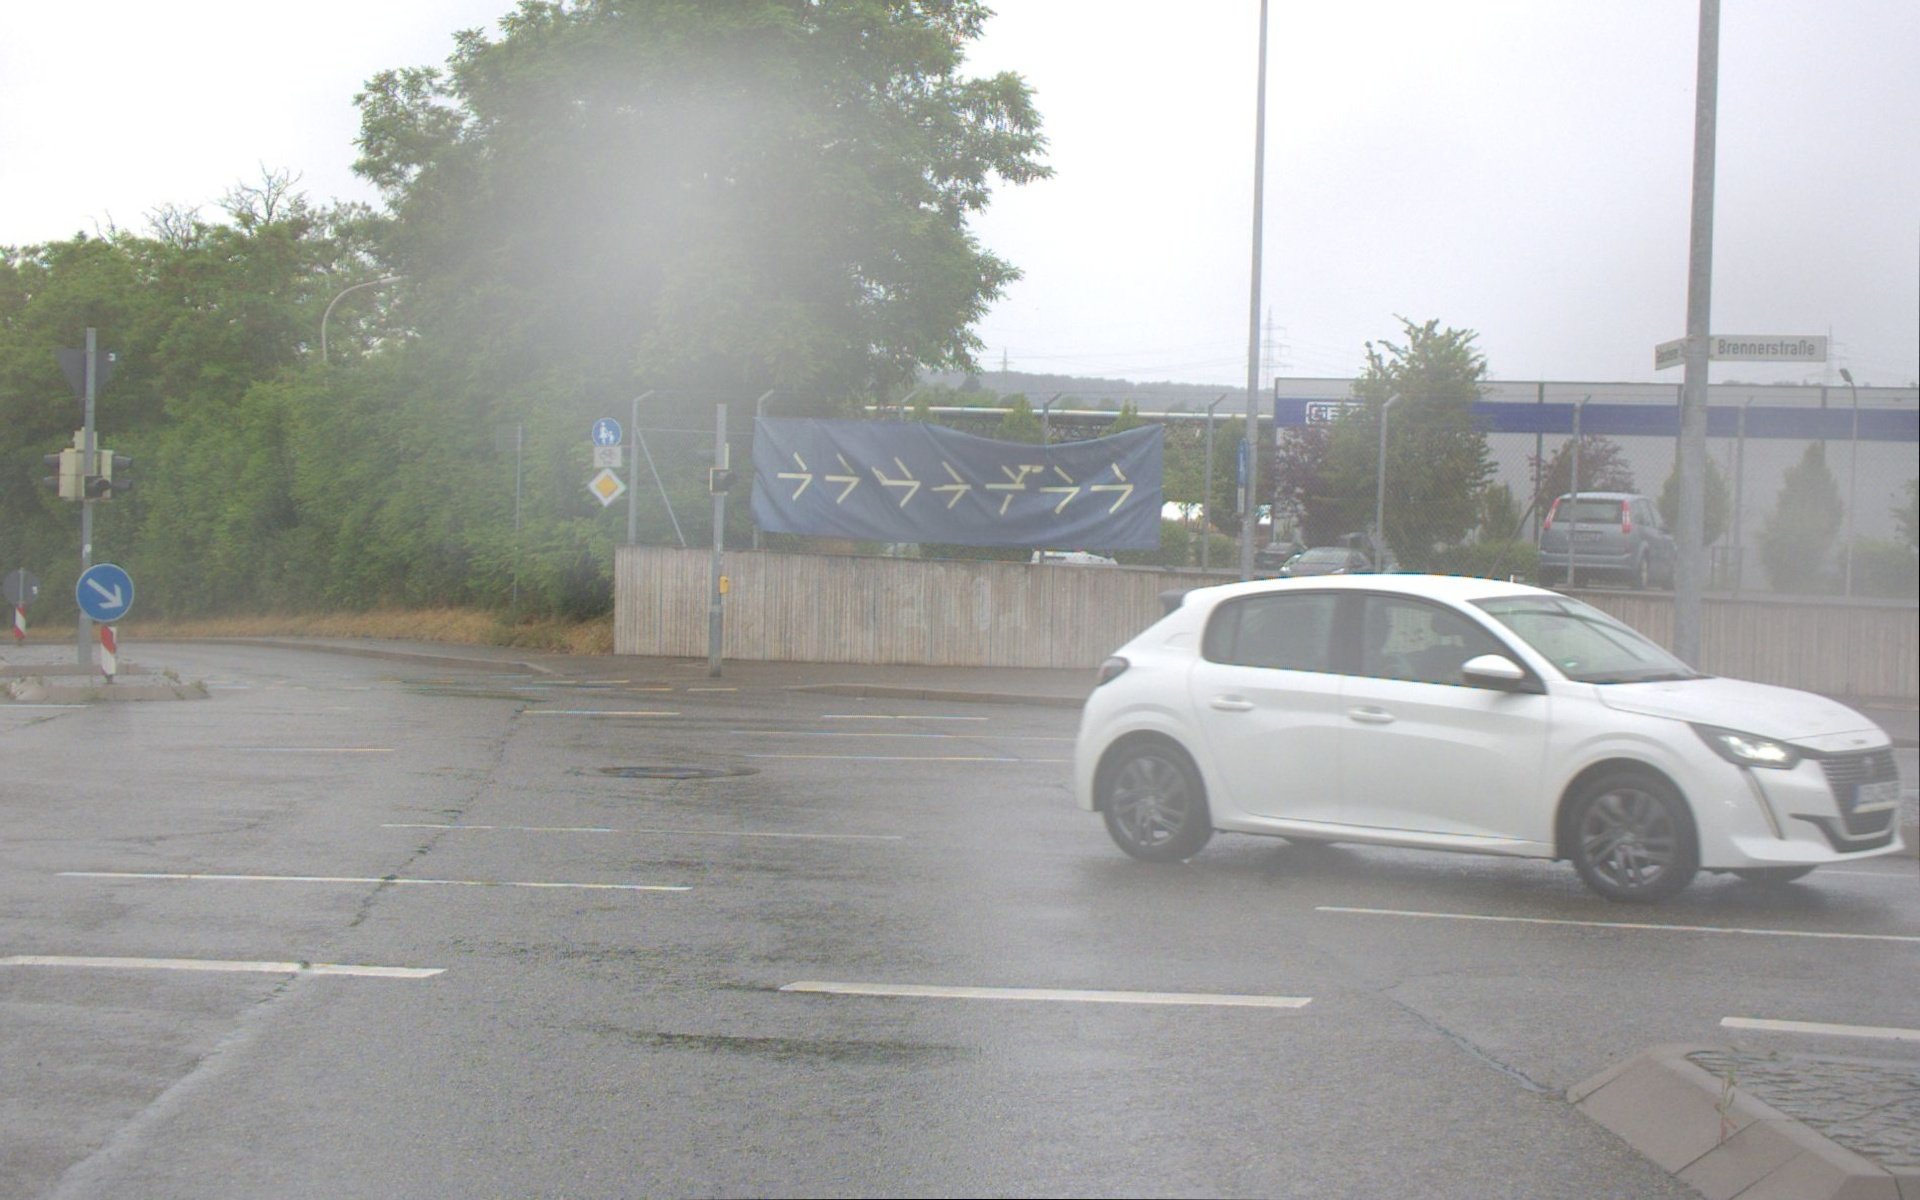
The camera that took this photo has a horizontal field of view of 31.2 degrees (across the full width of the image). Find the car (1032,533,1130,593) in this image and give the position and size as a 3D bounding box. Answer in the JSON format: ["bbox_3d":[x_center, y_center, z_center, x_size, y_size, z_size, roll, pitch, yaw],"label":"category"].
[{"bbox_3d":[3.387,-1.026,95.914,1.668,1.601,3.527,1,1,21],"label":"car"}]

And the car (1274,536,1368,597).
[{"bbox_3d":[9.742,-0.905,92.613,1.668,1.601,3.527,1,1,21],"label":"car"}]

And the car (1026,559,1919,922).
[{"bbox_3d":[2.478,0.581,16.541,3.976,1.503,1.867,1,1,37],"label":"car"}]

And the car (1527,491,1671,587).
[{"bbox_3d":[10.707,-1.004,57.448,1.744,1.548,3.527,1,1,21],"label":"car"}]
